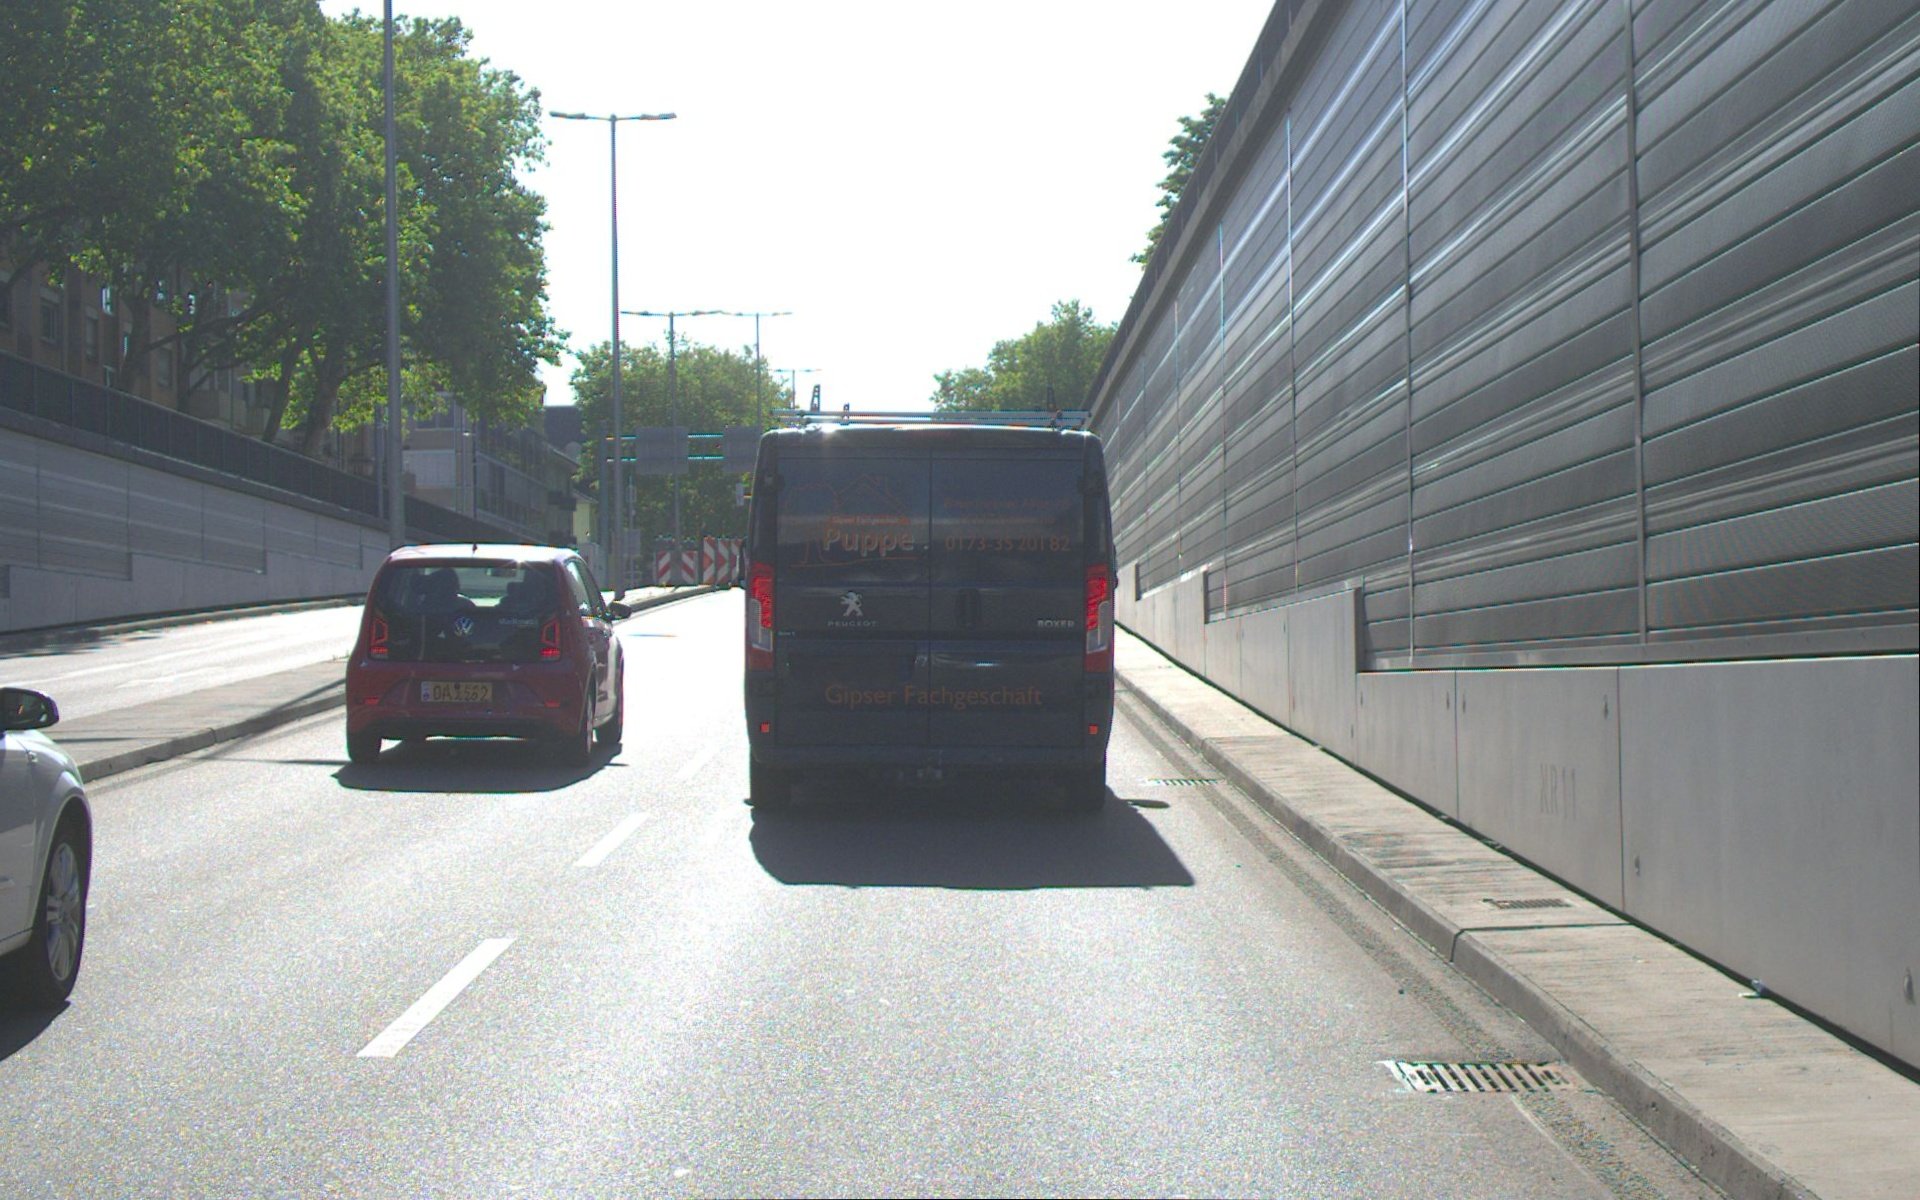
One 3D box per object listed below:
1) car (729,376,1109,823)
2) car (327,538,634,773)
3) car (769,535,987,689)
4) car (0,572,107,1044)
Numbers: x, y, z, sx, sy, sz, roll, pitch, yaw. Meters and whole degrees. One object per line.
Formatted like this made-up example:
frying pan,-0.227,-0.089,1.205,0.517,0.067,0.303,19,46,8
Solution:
car,-0.229,-0.015,20.447,2.030,2.394,3.973,0,0,0
car,-3.268,0.330,23.960,1.689,1.478,3.319,1,1,-1
car,-0.790,0.087,35.677,1.892,1.470,3.990,1,1,4
car,-3.647,0.614,9.522,1.619,1.398,3.852,1,0,0
